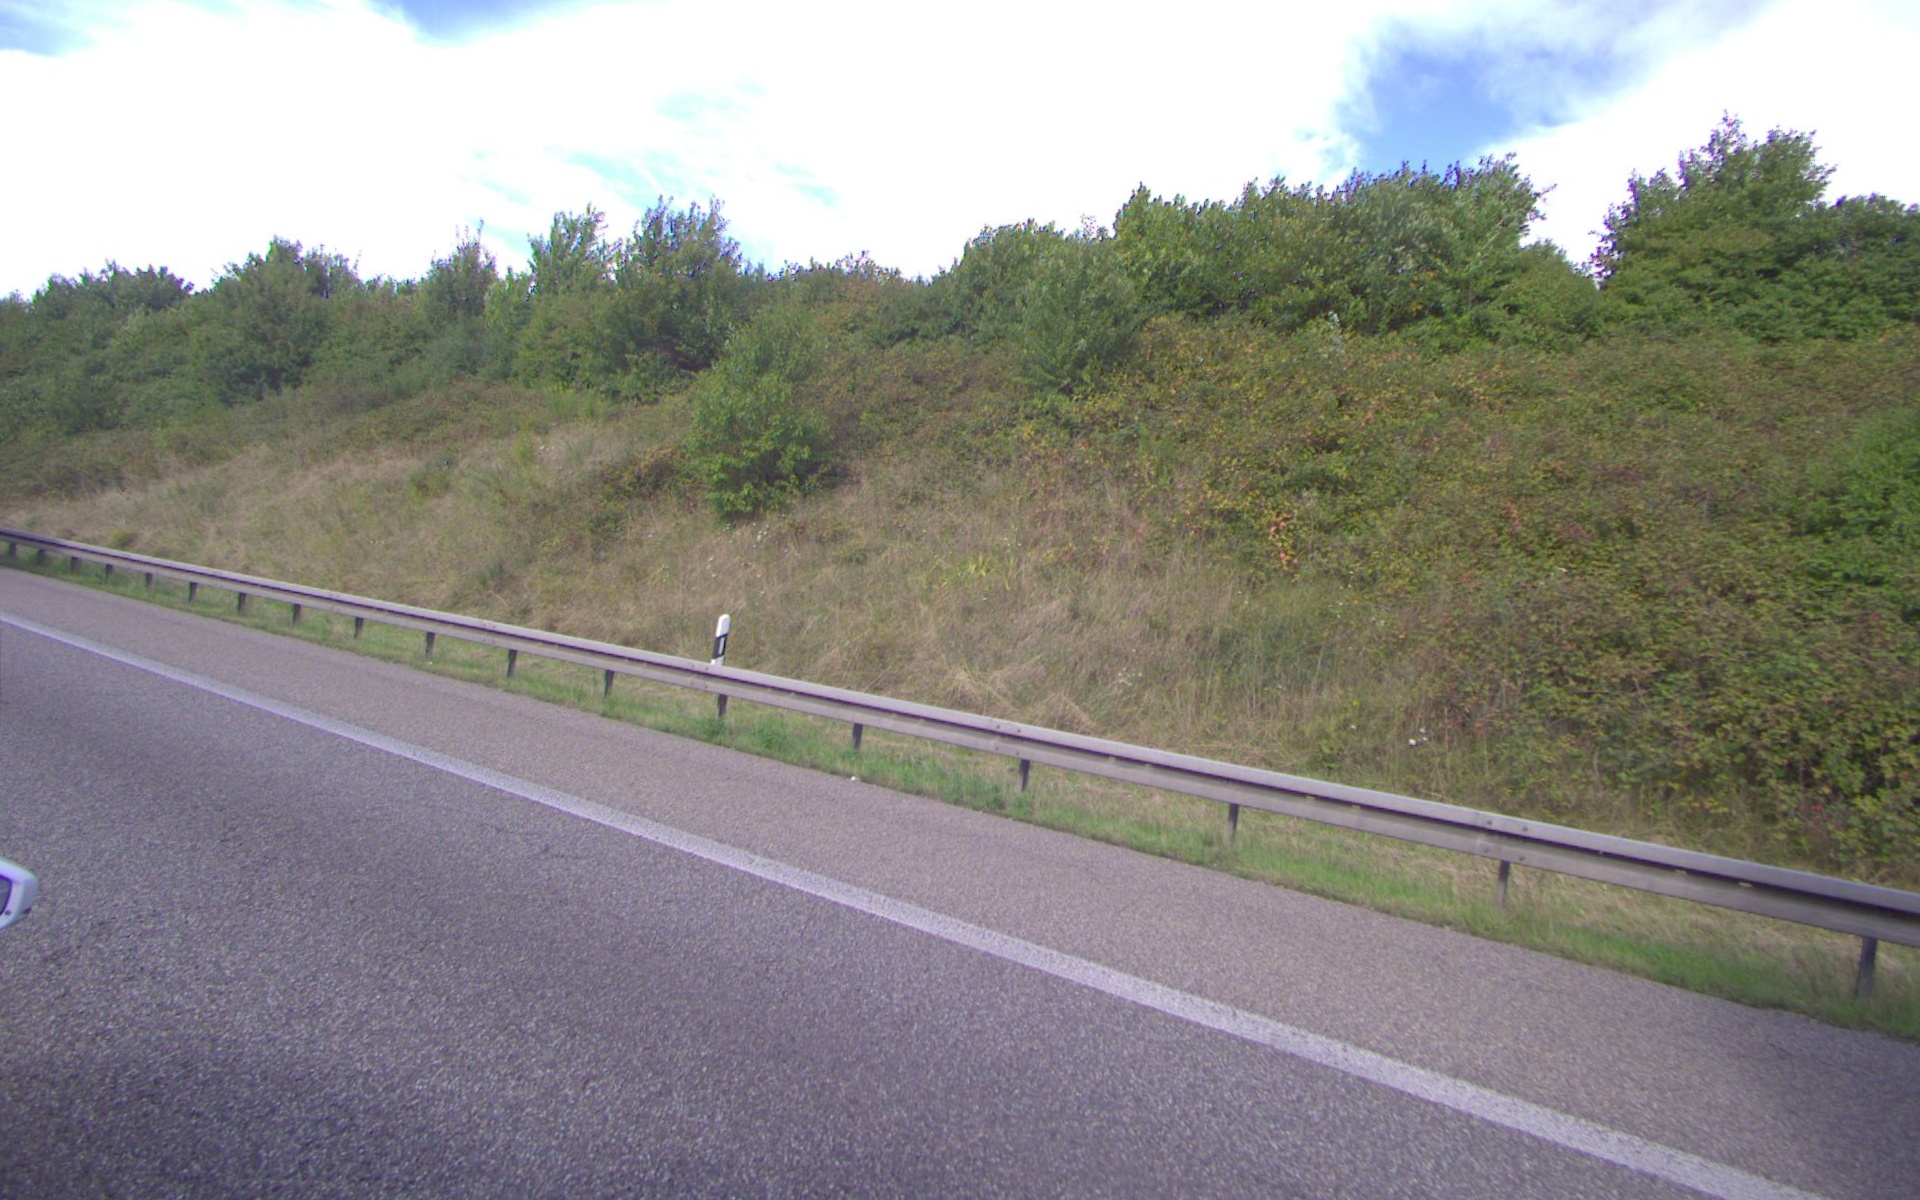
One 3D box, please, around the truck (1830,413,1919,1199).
[{"bbox_3d":[5.074,0.083,0.874,5.808,4.091,2.806,7,-1,33],"label":"truck"}]
